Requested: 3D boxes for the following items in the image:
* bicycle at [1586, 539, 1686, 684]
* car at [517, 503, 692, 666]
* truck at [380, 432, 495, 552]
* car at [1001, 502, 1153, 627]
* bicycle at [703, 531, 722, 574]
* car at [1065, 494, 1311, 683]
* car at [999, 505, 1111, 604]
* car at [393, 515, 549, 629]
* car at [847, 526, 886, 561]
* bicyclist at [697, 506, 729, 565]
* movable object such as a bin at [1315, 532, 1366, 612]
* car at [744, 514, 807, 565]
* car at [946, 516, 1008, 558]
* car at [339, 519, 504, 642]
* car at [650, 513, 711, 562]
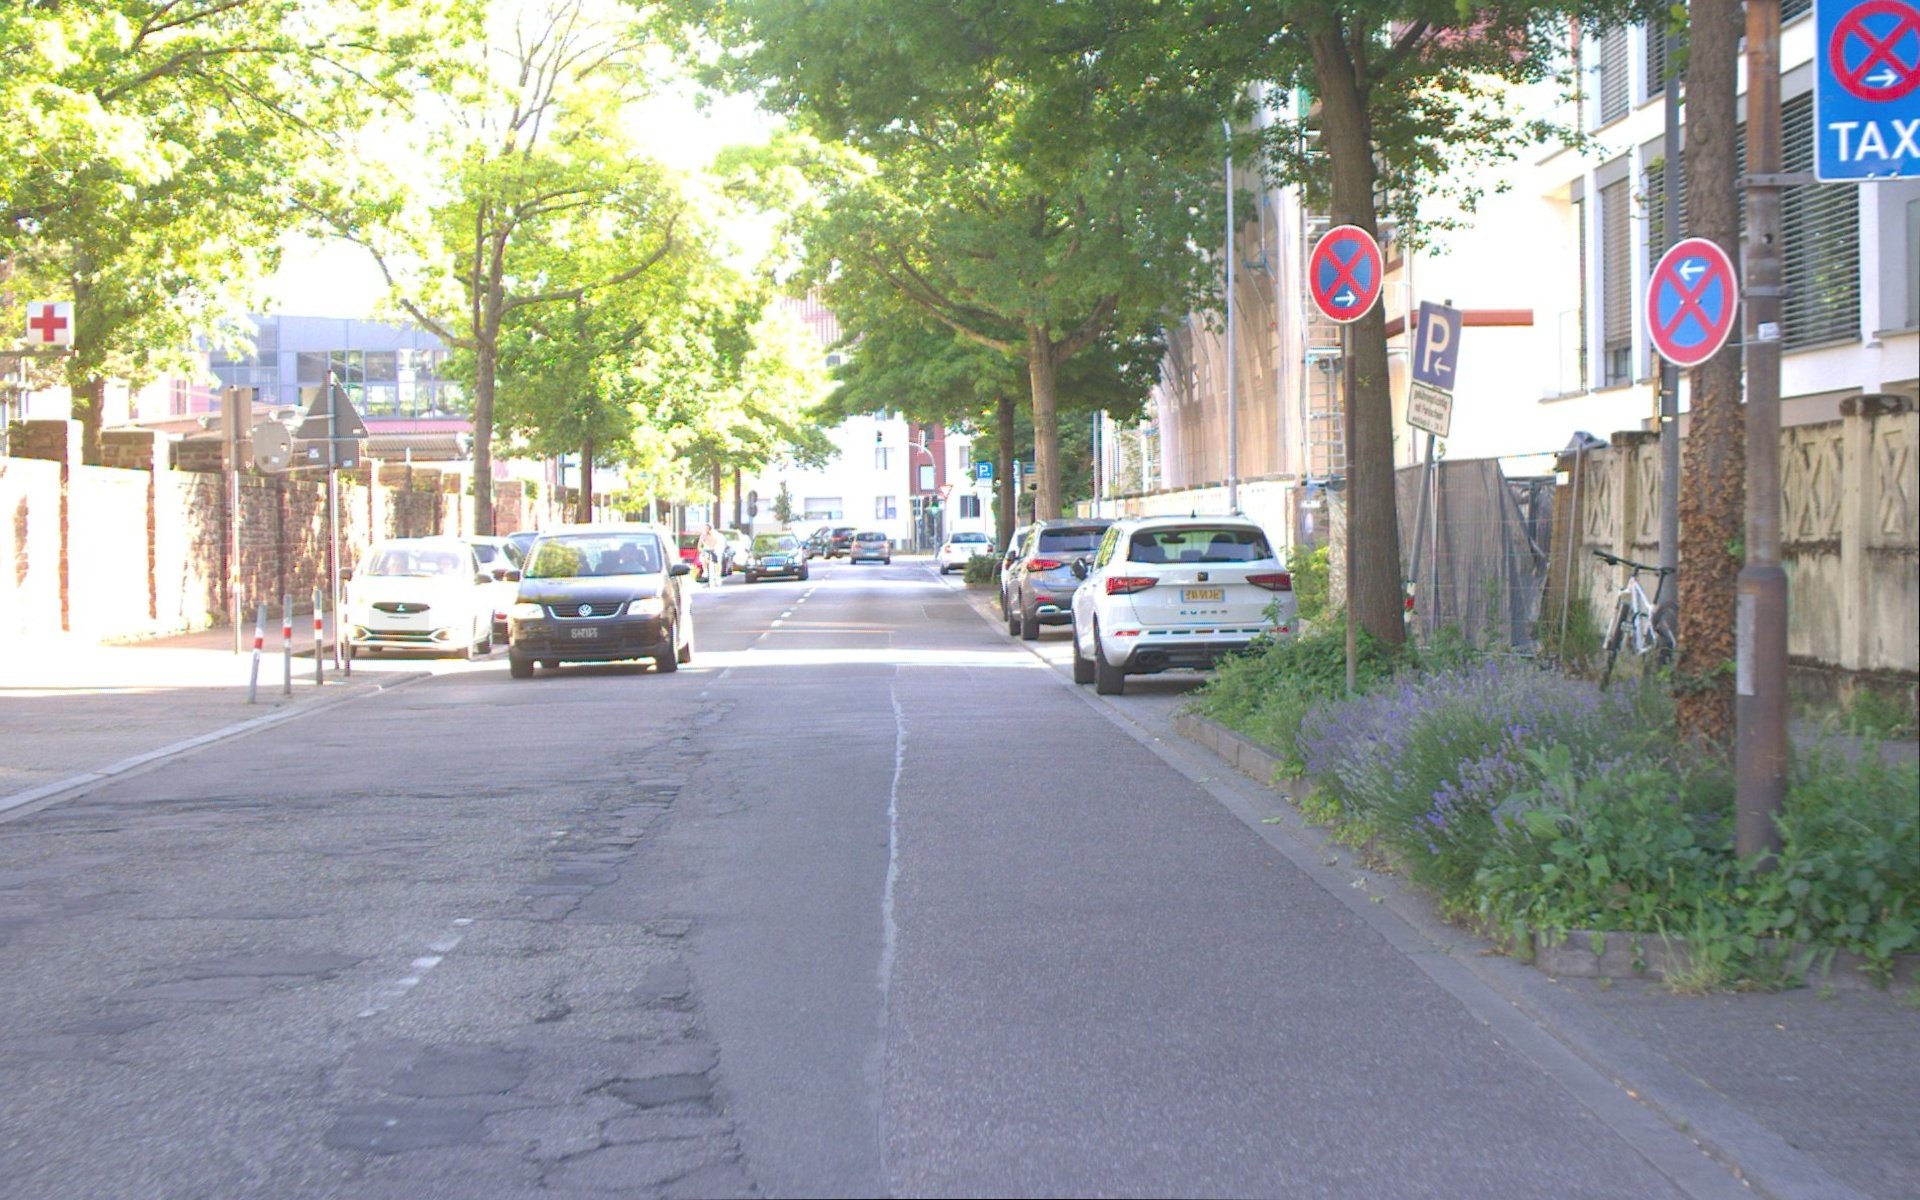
[{"bbox_3d":[5.071,0.069,25.860,0.336,1.037,1.831,0,1,-2],"label":"bicycle"},{"bbox_3d":[-3.823,-0.215,37.474,1.643,1.605,4.022,-2,2,-3],"label":"car"},{"bbox_3d":[-16.864,-3.474,111.299,2.732,3.698,7.429,1,1,-2],"label":"truck"},{"bbox_3d":[1.577,-0.528,47.659,1.712,1.632,4.303,-1,2,-3],"label":"car"},{"bbox_3d":[-6.486,-1.258,90.268,0.357,1.116,1.866,1,1,0],"label":"bicycle"},{"bbox_3d":[2.032,-0.154,31.737,1.792,1.610,4.127,0,2,-3],"label":"car"},{"bbox_3d":[1.571,-0.775,56.583,1.724,1.505,3.992,-2,2,2],"label":"car"},{"bbox_3d":[-6.978,-0.433,49.374,1.676,1.506,3.850,2,1,-1],"label":"car"},{"bbox_3d":[-4.054,-2.463,149.399,1.639,1.438,3.422,1,1,-1],"label":"car"},{"bbox_3d":[-6.483,-1.697,90.245,0.721,1.517,1.005,1,1,1],"label":"bicyclist"},{"bbox_3d":[4.972,-0.368,44.928,0.598,1.023,0.564,1,1,2],"label":"movable object such as a bin"},{"bbox_3d":[-5.557,-1.847,103.335,1.821,1.431,3.970,1,2,-3],"label":"car"},{"bbox_3d":[0.542,-2.084,112.906,1.832,1.318,4.497,-1,1,-2],"label":"car"},{"bbox_3d":[-6.755,-0.278,43.406,1.574,1.397,3.751,3,1,-2],"label":"car"},{"bbox_3d":[-8.530,-1.923,105.274,1.608,1.454,3.708,1,1,-1],"label":"car"}]
